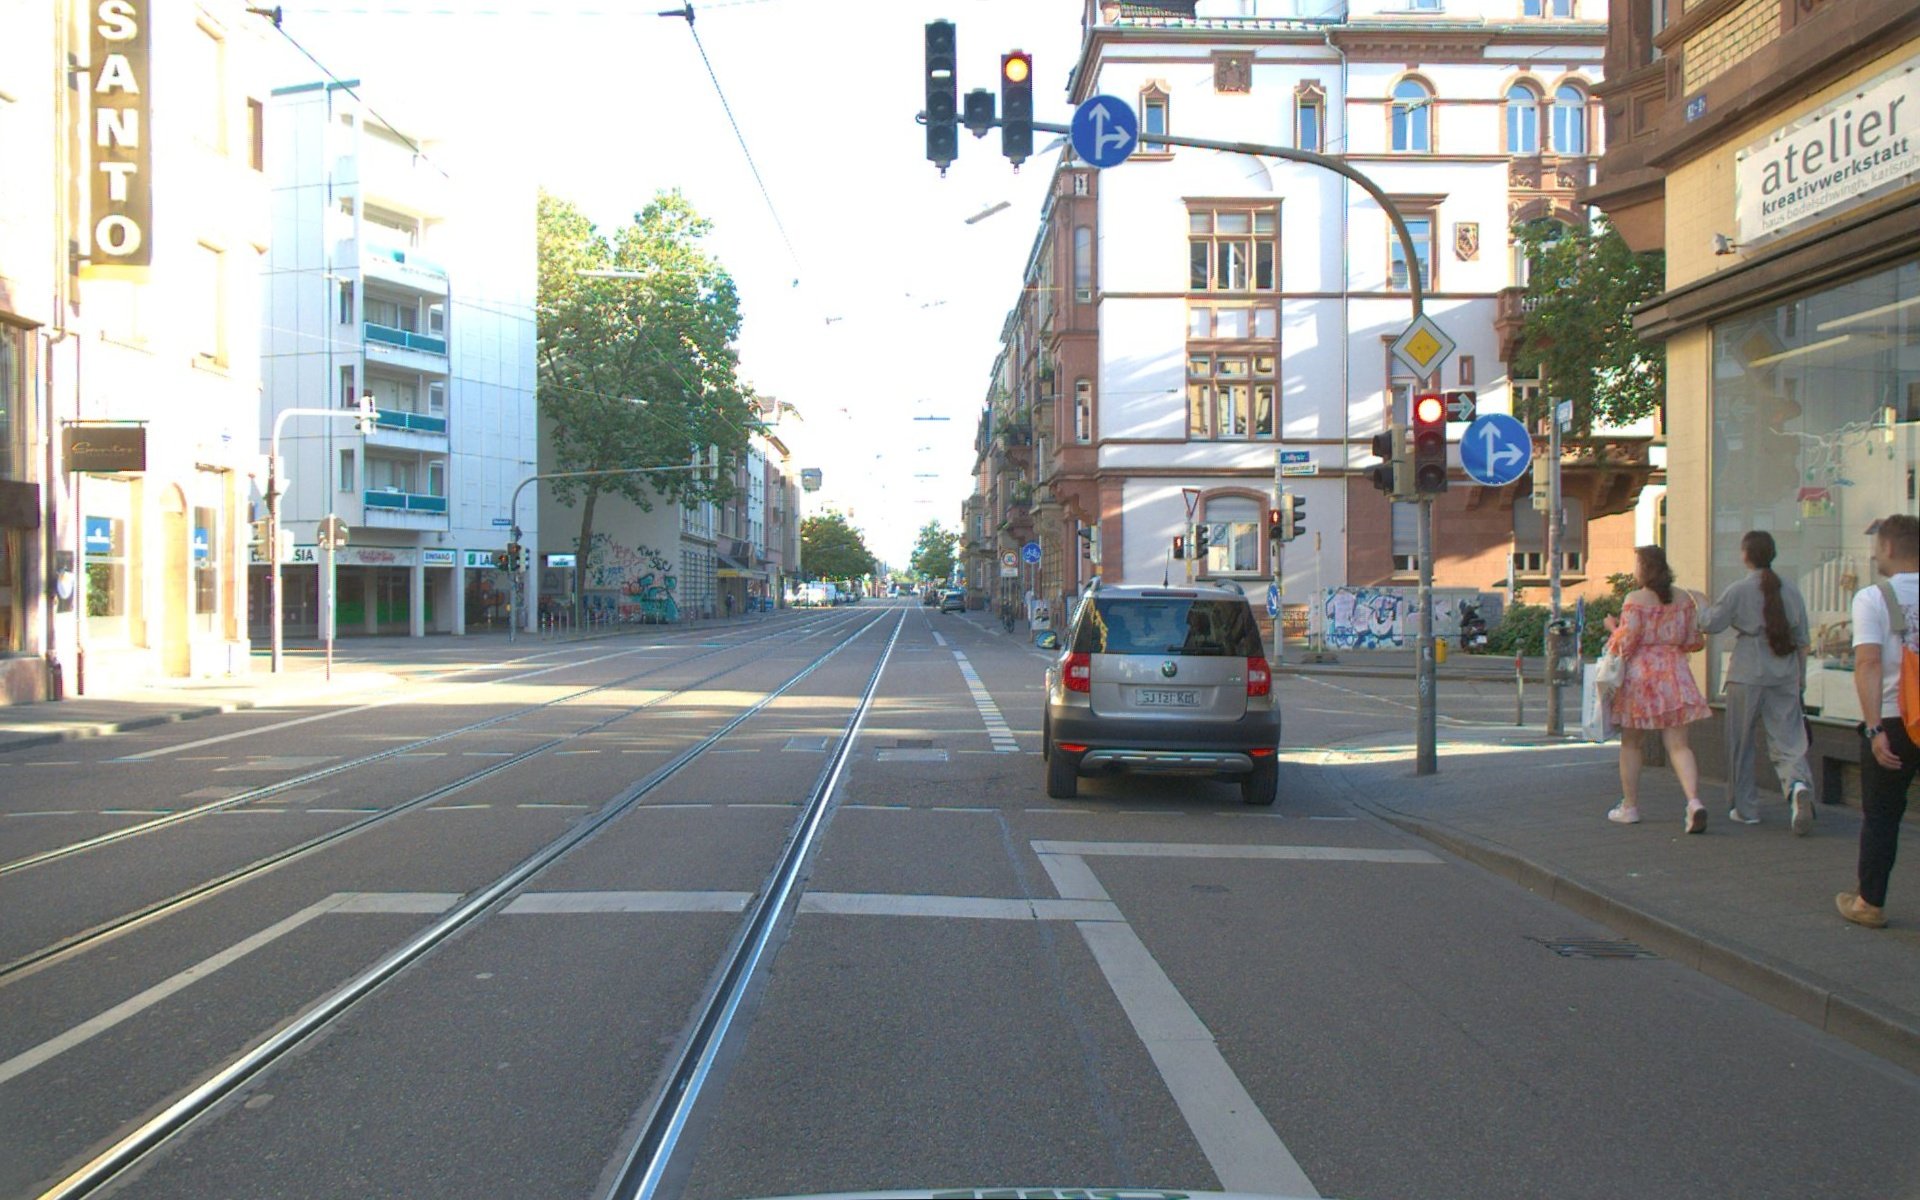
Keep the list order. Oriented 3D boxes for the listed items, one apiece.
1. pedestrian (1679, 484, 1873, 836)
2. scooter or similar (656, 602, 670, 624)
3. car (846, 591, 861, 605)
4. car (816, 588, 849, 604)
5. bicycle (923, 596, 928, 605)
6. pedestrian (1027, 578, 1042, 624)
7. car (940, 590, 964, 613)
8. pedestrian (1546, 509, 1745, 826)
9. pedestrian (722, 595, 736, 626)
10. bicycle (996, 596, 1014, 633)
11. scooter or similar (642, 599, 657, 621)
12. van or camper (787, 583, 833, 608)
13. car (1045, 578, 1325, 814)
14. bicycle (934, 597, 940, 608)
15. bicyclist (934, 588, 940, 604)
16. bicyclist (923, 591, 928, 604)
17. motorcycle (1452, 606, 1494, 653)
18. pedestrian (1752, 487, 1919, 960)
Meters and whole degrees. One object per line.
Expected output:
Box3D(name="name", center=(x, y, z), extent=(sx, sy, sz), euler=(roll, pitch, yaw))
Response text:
Box3D(name="pedestrian", center=(4.757, 0.334, 9.678), extent=(0.677, 1.941, 0.670), euler=(-4, 1, -3))
Box3D(name="scooter or similar", center=(-14.544, 0.629, 81.092), extent=(0.506, 1.076, 1.477), euler=(0, 0, -3))
Box3D(name="car", center=(-15.560, -0.320, 241.653), extent=(1.953, 2.049, 3.998), euler=(0, 0, -2))
Box3D(name="car", center=(-16.653, -0.479, 215.672), extent=(3.939, 2.049, 1.983), euler=(0, 0, -27))
Box3D(name="bicycle", center=(-3.907, 0.075, 188.309), extent=(0.563, 1.048, 1.895), euler=(0, 0, 0))
Box3D(name="pedestrian", center=(2.942, 0.040, 65.250), extent=(0.533, 1.811, 0.504), euler=(0, 0, -1))
Box3D(name="car", center=(-0.624, 0.107, 130.330), extent=(1.910, 1.713, 4.000), euler=(0, 0, 0))
Box3D(name="pedestrian", center=(4.211, 0.394, 10.207), extent=(0.789, 1.831, 0.761), euler=(-4, 1, -3))
Box3D(name="pedestrian", center=(-12.798, 0.583, 91.767), extent=(0.687, 1.759, 0.647), euler=(0, 0, -2))
Box3D(name="bicycle", center=(1.656, 0.528, 61.034), extent=(0.640, 1.347, 2.177), euler=(0, 0, 1))
Box3D(name="scooter or similar", center=(-15.201, 0.497, 81.036), extent=(0.506, 1.064, 1.477), euler=(0, 0, -3))
Box3D(name="van or camper", center=(-16.271, -0.438, 179.715), extent=(4.591, 2.608, 1.978), euler=(1, -1, -33))
Box3D(name="car", center=(1.713, 0.684, 13.848), extent=(1.952, 1.646, 4.001), euler=(1, 0, 3))
Box3D(name="bicycle", center=(-2.218, 0.225, 157.472), extent=(0.563, 1.048, 1.895), euler=(0, 0, 0))
Box3D(name="bicyclist", center=(-2.218, -0.372, 157.469), extent=(0.563, 1.581, 0.595), euler=(0, 0, -1))
Box3D(name="bicyclist", center=(-3.911, -0.260, 188.306), extent=(0.563, 1.477, 0.645), euler=(0, 0, -1))
Box3D(name="motorcycle", center=(12.714, 0.722, 41.058), extent=(0.704, 1.037, 2.289), euler=(0, 2, 10))
Box3D(name="pedestrian", center=(4.037, 0.449, 6.924), extent=(0.789, 1.831, 1.091), euler=(-4, 1, -3))
